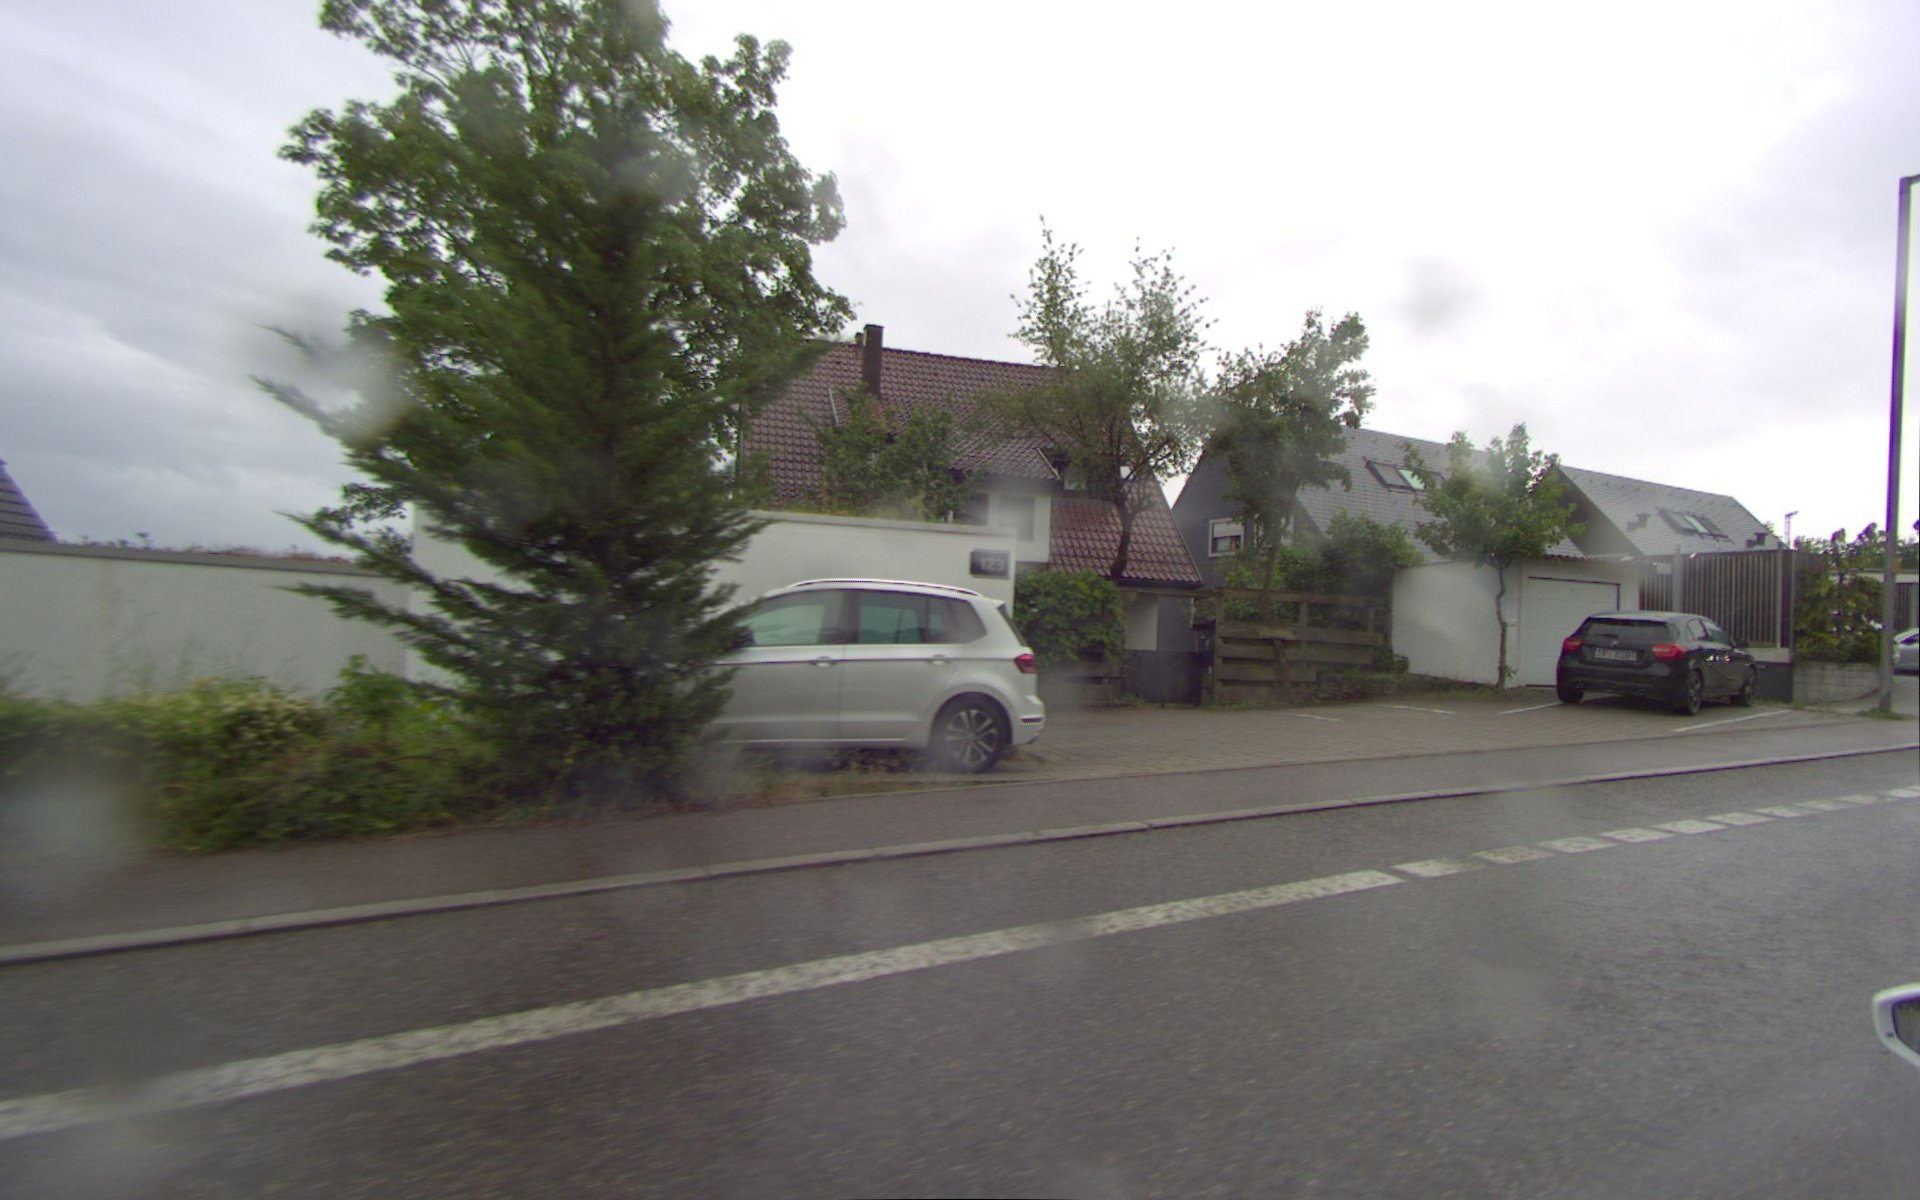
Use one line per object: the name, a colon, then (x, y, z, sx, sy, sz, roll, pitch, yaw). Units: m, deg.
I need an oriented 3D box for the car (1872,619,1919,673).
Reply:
car: (31.448, 1.484, 31.212, 4.214, 1.622, 1.835, 2, 0, 27)

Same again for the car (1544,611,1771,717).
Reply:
car: (11.161, 0.934, 15.979, 4.222, 1.424, 1.819, 1, 0, -38)

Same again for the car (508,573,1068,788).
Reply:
car: (-1.404, 0.641, 8.708, 4.315, 1.574, 1.705, 2, 0, -15)

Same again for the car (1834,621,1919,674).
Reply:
car: (28.790, 1.447, 29.415, 4.446, 1.461, 1.760, 2, 1, 22)

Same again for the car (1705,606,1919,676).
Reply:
car: (22.015, 1.008, 25.977, 3.978, 1.595, 1.942, 2, 0, 20)
